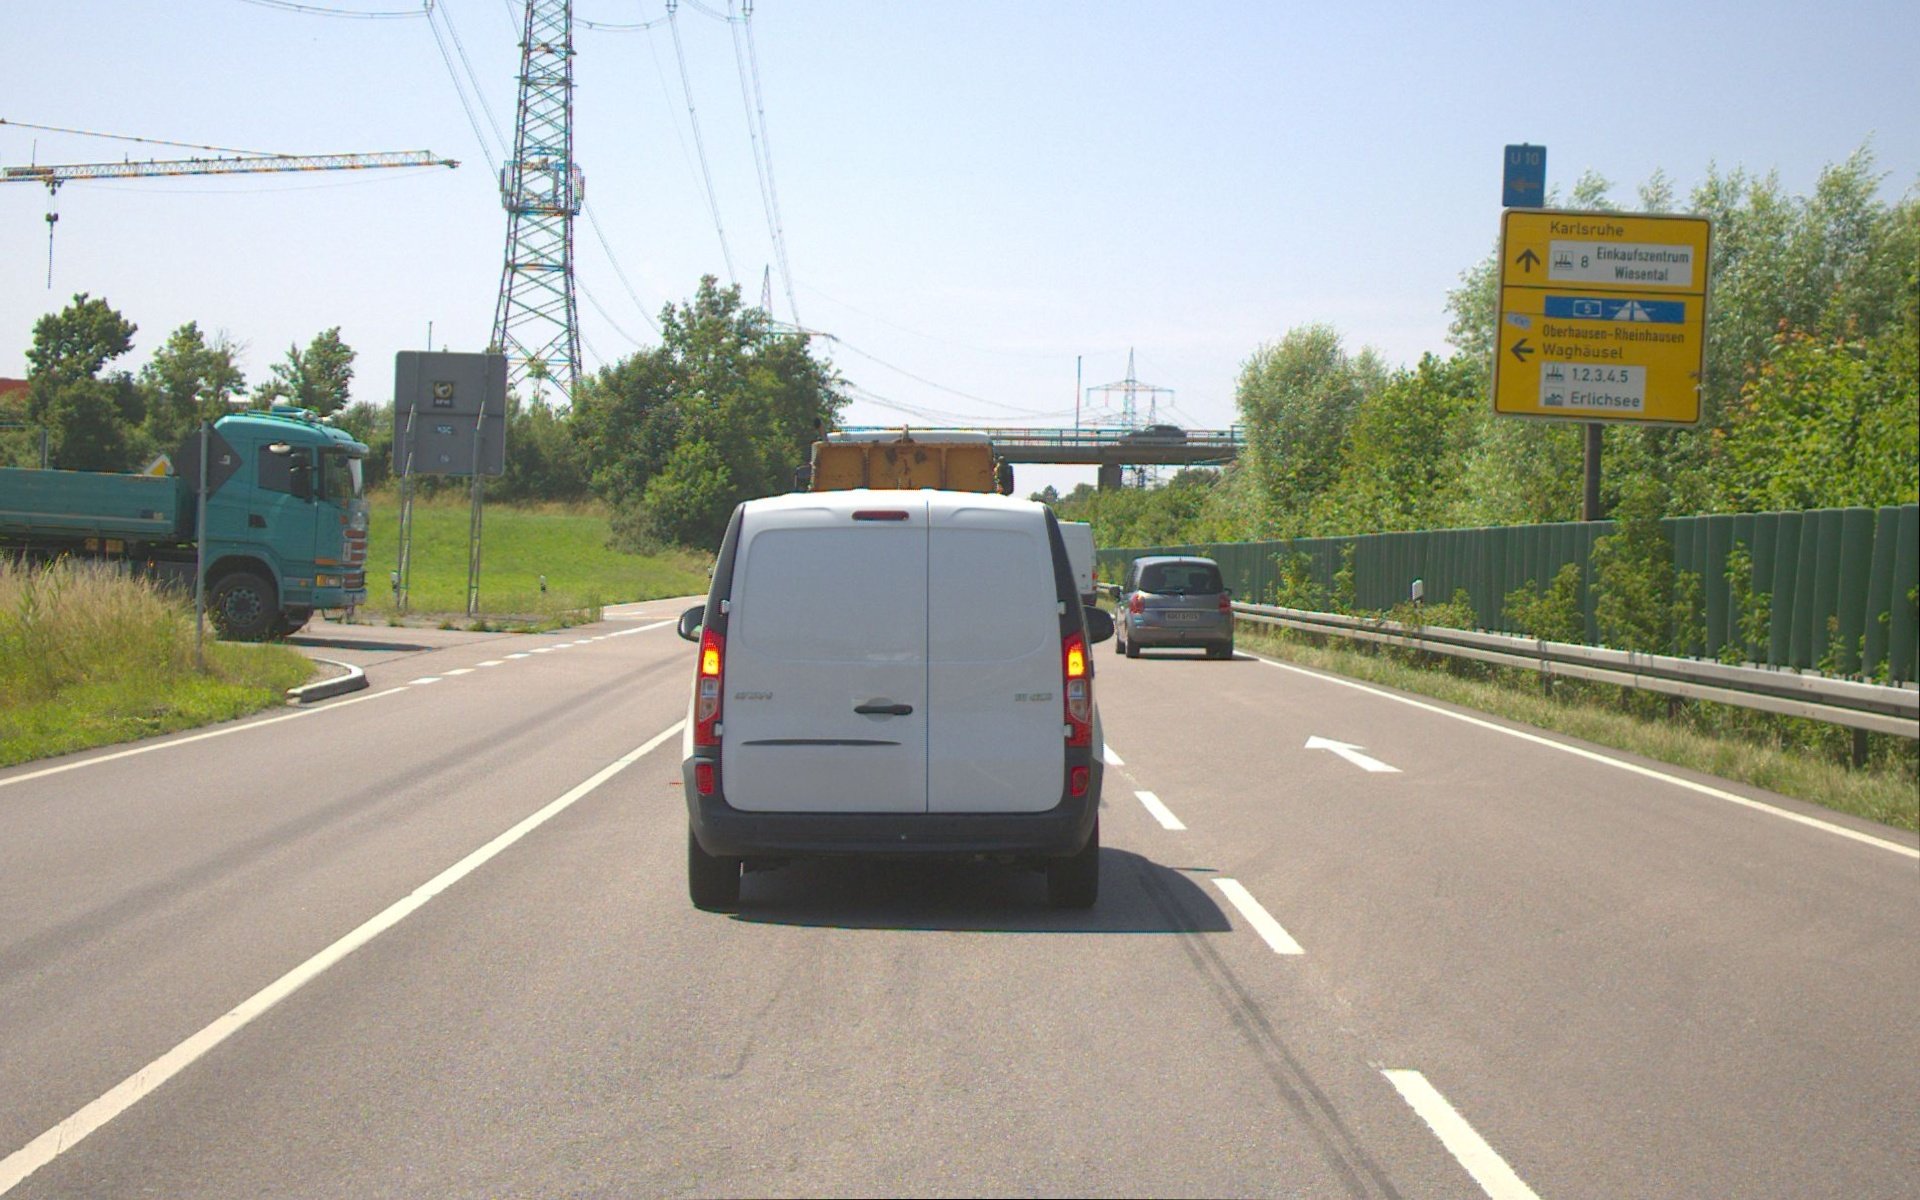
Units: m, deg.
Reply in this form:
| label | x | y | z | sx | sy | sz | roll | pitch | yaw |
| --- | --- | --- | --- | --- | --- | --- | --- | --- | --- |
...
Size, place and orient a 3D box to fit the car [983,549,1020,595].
| label | x | y | z | sx | sy | sz | roll | pitch | yaw |
| --- | --- | --- | --- | --- | --- | --- | --- | --- | --- |
| car | 1.867 | -1.276 | 155.976 | 1.559 | 2.007 | 3.589 | 2 | 1 | -1 |

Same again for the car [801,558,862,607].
| label | x | y | z | sx | sy | sz | roll | pitch | yaw |
| --- | --- | --- | --- | --- | --- | --- | --- | --- | --- |
| car | -4.122 | -0.591 | 110.721 | 1.725 | 1.436 | 4.249 | 3 | 1 | 0 |

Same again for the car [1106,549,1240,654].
| label | x | y | z | sx | sy | sz | roll | pitch | yaw |
| --- | --- | --- | --- | --- | --- | --- | --- | --- | --- |
| car | 3.308 | -0.005 | 54.024 | 1.848 | 1.568 | 4.000 | 1 | 1 | 0 |

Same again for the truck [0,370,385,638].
| label | x | y | z | sx | sy | sz | roll | pitch | yaw |
| --- | --- | --- | --- | --- | --- | --- | --- | --- | --- |
| truck | -13.132 | -1.533 | 52.916 | 7.905 | 3.722 | 2.498 | 3 | 1 | 3 |

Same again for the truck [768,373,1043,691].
| label | x | y | z | sx | sy | sz | roll | pitch | yaw |
| --- | --- | --- | --- | --- | --- | --- | --- | --- | --- |
| truck | -0.683 | -0.836 | 40.889 | 2.820 | 3.277 | 9.702 | 1 | 1 | -1 |

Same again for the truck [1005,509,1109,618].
| label | x | y | z | sx | sy | sz | roll | pitch | yaw |
| --- | --- | --- | --- | --- | --- | --- | --- | --- | --- |
| truck | 2.492 | -0.977 | 90.559 | 2.374 | 2.680 | 8.010 | 2 | 1 | -1 |

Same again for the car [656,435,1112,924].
| label | x | y | z | sx | sy | sz | roll | pitch | yaw |
| --- | --- | --- | --- | --- | --- | --- | --- | --- | --- |
| car | -0.327 | 0.295 | 15.916 | 1.827 | 1.964 | 4.000 | 1 | 1 | 0 |
